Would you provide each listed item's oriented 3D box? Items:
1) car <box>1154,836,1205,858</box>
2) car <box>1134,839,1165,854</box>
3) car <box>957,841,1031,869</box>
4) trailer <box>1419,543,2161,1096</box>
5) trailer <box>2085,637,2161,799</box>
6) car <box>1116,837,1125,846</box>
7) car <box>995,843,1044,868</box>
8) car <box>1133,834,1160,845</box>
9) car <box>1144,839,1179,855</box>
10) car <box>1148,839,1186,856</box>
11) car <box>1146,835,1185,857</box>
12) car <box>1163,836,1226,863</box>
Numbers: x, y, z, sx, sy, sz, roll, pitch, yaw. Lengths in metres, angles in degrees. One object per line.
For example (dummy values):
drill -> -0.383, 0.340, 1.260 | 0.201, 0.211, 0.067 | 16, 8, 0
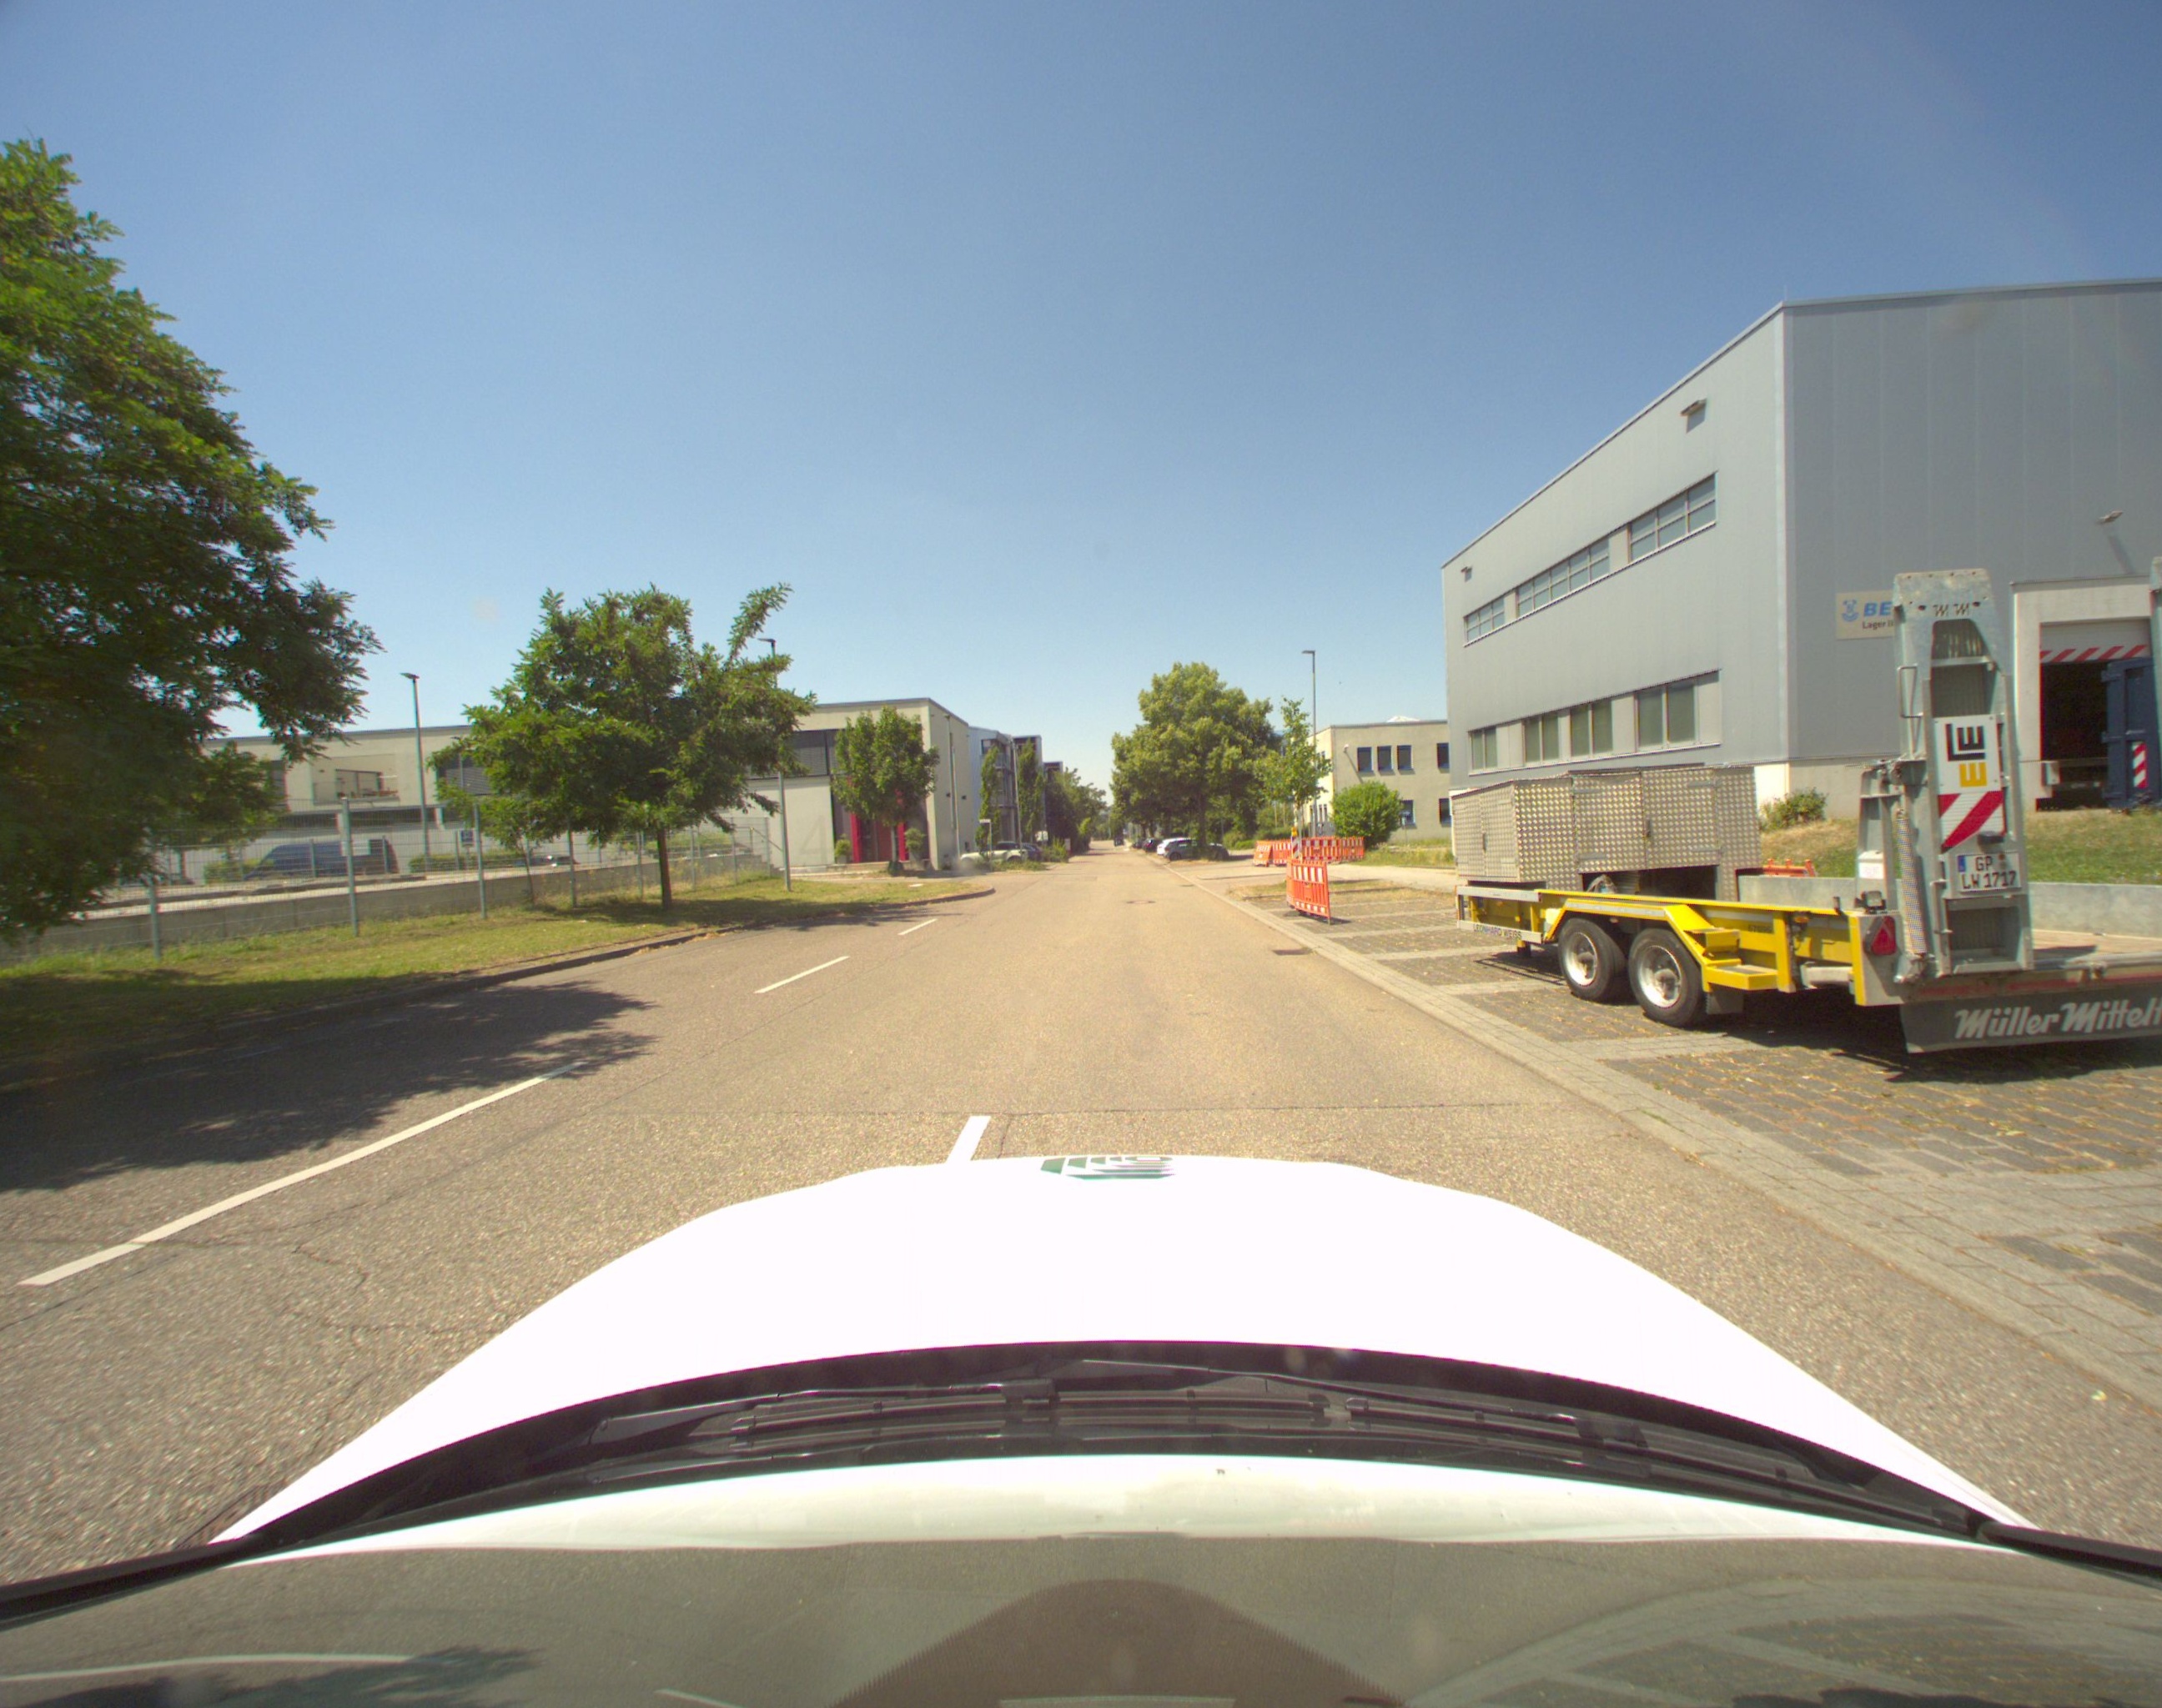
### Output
car -> 7.443, -0.525, 61.722 | 3.508, 1.354, 1.537 | -5, 1, -3
car -> 9.373, -1.039, 111.510 | 3.926, 1.834, 1.764 | -2, 4, -6
car -> -4.986, 0.040, 47.166 | 4.033, 1.495, 1.728 | -2, 0, -1
trailer -> 5.571, -0.254, 7.151 | 2.649, 2.857, 5.517 | -4, 1, -1
trailer -> 17.303, -1.859, 9.371 | 2.646, 2.419, 7.427 | -1, 4, 5
car -> 7.948, -2.490, 162.901 | 1.754, 1.755, 3.948 | -2, 0, 3
car -> -3.943, 0.092, 52.087 | 3.052, 1.478, 1.291 | -1, 0, -5
car -> 9.915, -2.221, 123.756 | 3.926, 1.577, 1.764 | -2, 4, -6
car -> 8.825, -0.810, 89.564 | 3.708, 1.626, 1.815 | -2, 0, 2
car -> 8.860, -0.647, 84.123 | 3.708, 1.626, 1.815 | -2, 0, 2
car -> 8.371, -0.804, 80.666 | 3.708, 2.110, 1.815 | -2, 0, 2
car -> 7.214, -0.296, 52.082 | 3.670, 1.354, 1.644 | -5, 1, -3
